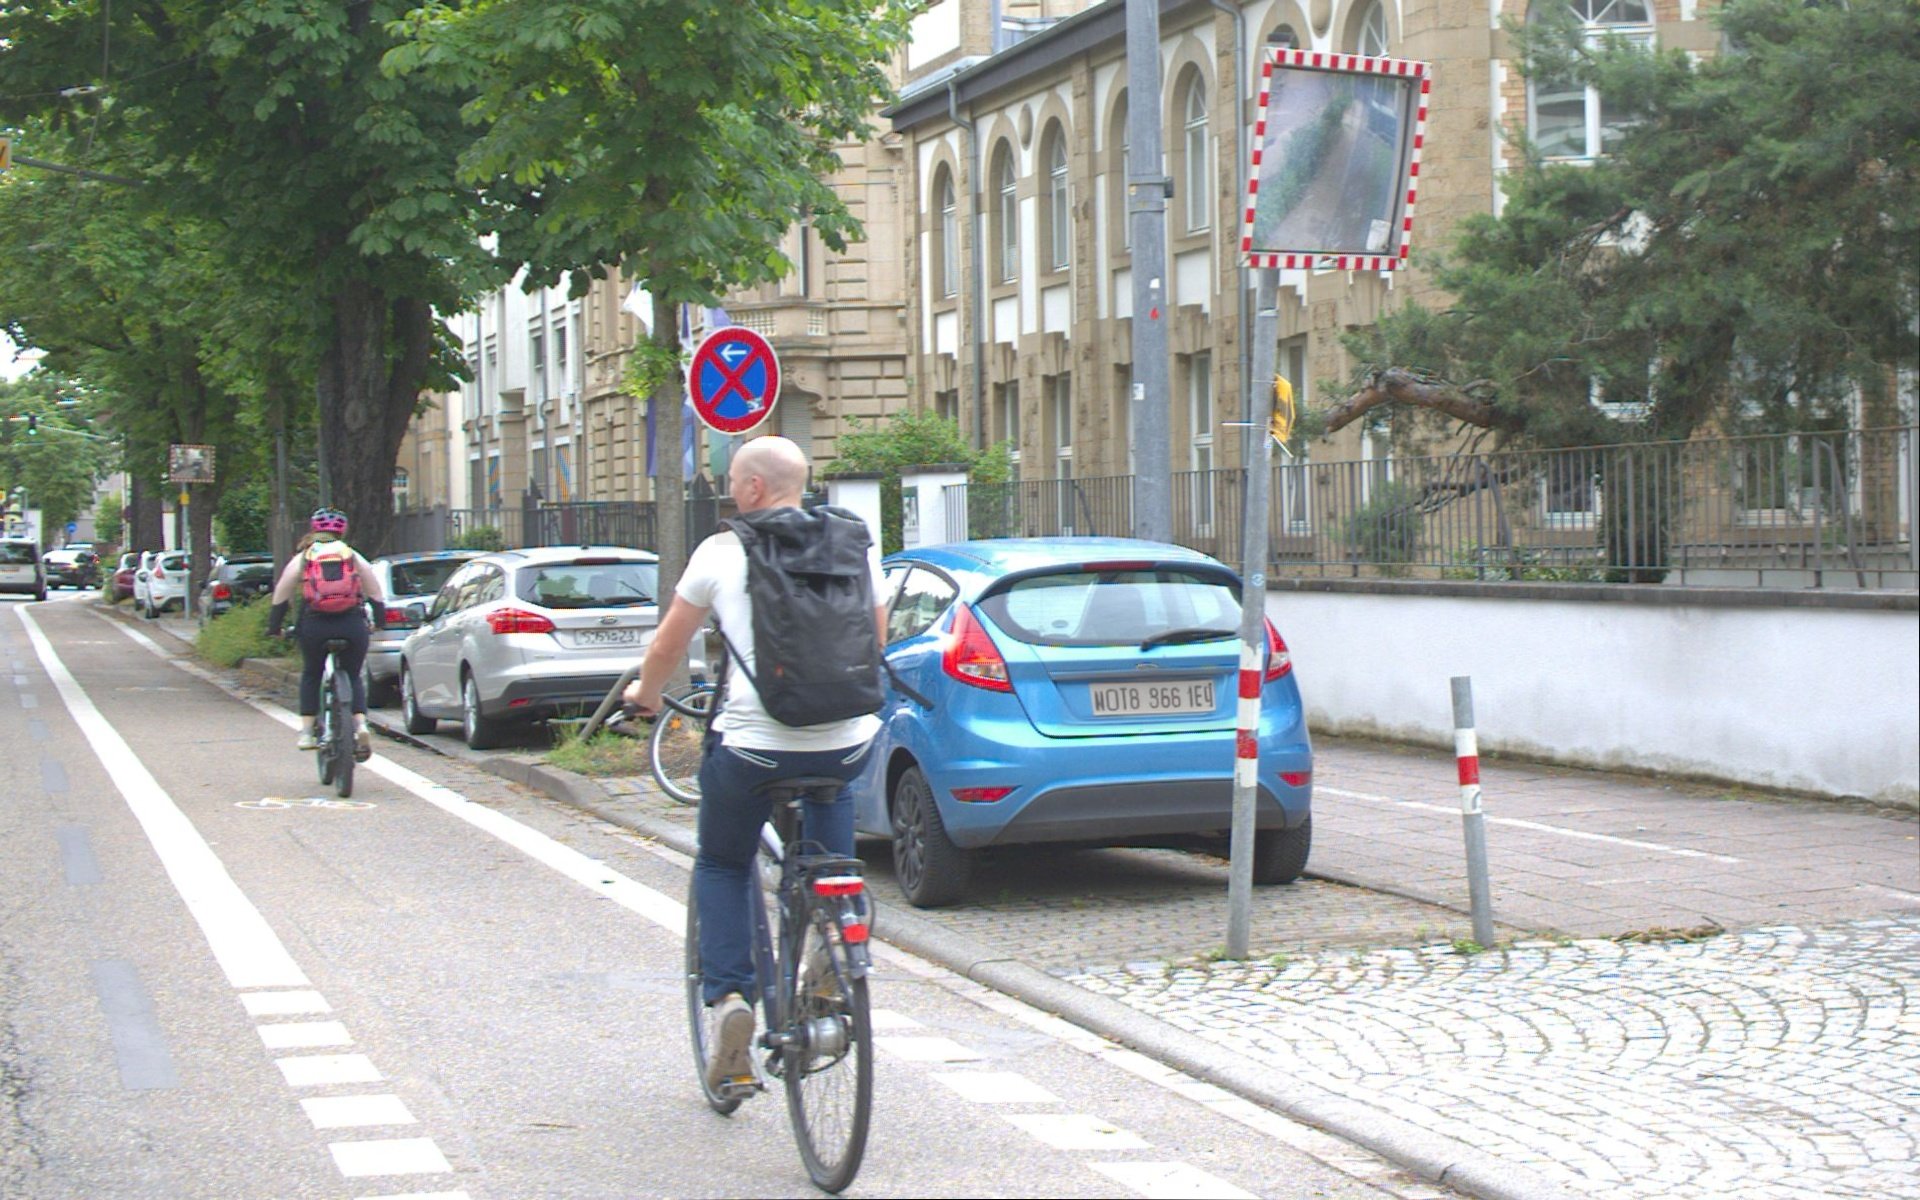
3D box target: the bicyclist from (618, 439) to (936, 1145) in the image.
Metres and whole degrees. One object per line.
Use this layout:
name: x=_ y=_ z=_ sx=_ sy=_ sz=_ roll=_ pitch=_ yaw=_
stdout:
bicyclist: x=-0.453 y=0.415 z=8.150 sx=0.662 sy=1.564 sz=0.986 roll=0 pitch=1 yaw=-8

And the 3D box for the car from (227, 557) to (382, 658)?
car: x=-9.022 y=0.066 z=47.112 sx=1.873 sy=1.247 sz=4.001 roll=-1 pitch=1 yaw=-13

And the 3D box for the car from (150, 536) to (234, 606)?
car: x=-16.392 y=-0.639 z=73.298 sx=1.666 sy=1.394 sz=3.662 roll=-1 pitch=1 yaw=-13

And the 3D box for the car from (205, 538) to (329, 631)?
car: x=-11.127 y=-0.278 z=55.042 sx=1.791 sy=1.394 sz=3.796 roll=-1 pitch=1 yaw=-13

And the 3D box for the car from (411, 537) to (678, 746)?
car: x=-3.247 y=0.262 z=26.385 sx=1.475 sy=1.476 sz=3.566 roll=0 pitch=1 yaw=-16

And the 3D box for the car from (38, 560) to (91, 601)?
car: x=-33.042 y=-0.735 z=126.891 sx=1.769 sy=1.394 sz=3.796 roll=-1 pitch=1 yaw=-13

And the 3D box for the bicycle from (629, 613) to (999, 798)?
bicycle: x=-0.823 y=0.584 z=19.525 sx=2.012 sy=0.953 sz=0.534 roll=-2 pitch=2 yaw=-19

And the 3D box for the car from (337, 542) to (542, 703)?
car: x=-5.079 y=0.171 z=33.270 sx=1.475 sy=1.424 sz=3.566 roll=-2 pitch=1 yaw=-16

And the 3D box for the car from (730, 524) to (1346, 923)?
car: x=0.215 y=0.430 z=14.929 sx=1.673 sy=1.455 sz=3.434 roll=-3 pitch=2 yaw=-16

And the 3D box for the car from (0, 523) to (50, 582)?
car: x=-27.893 y=-1.388 z=101.634 sx=1.811 sy=1.702 sz=3.700 roll=0 pitch=1 yaw=-13

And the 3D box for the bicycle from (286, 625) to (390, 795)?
bicycle: x=-3.841 y=0.651 z=21.147 sx=0.489 sy=0.976 sz=2.058 roll=0 pitch=0 yaw=-14

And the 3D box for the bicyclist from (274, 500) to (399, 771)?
bicyclist: x=-3.813 y=0.202 z=20.985 sx=0.657 sy=1.605 sz=0.920 roll=-1 pitch=1 yaw=-14

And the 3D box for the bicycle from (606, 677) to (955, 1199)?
bicycle: x=-0.479 y=0.788 z=8.322 sx=0.664 sy=1.113 sz=1.867 roll=1 pitch=1 yaw=-8

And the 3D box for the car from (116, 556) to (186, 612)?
car: x=-21.830 y=-0.444 z=92.705 sx=1.769 sy=1.394 sz=3.796 roll=-1 pitch=1 yaw=-13

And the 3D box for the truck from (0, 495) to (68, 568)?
truck: x=-53.770 y=-3.944 z=198.097 sx=3.807 sy=4.015 sz=10.221 roll=-2 pitch=1 yaw=-19
